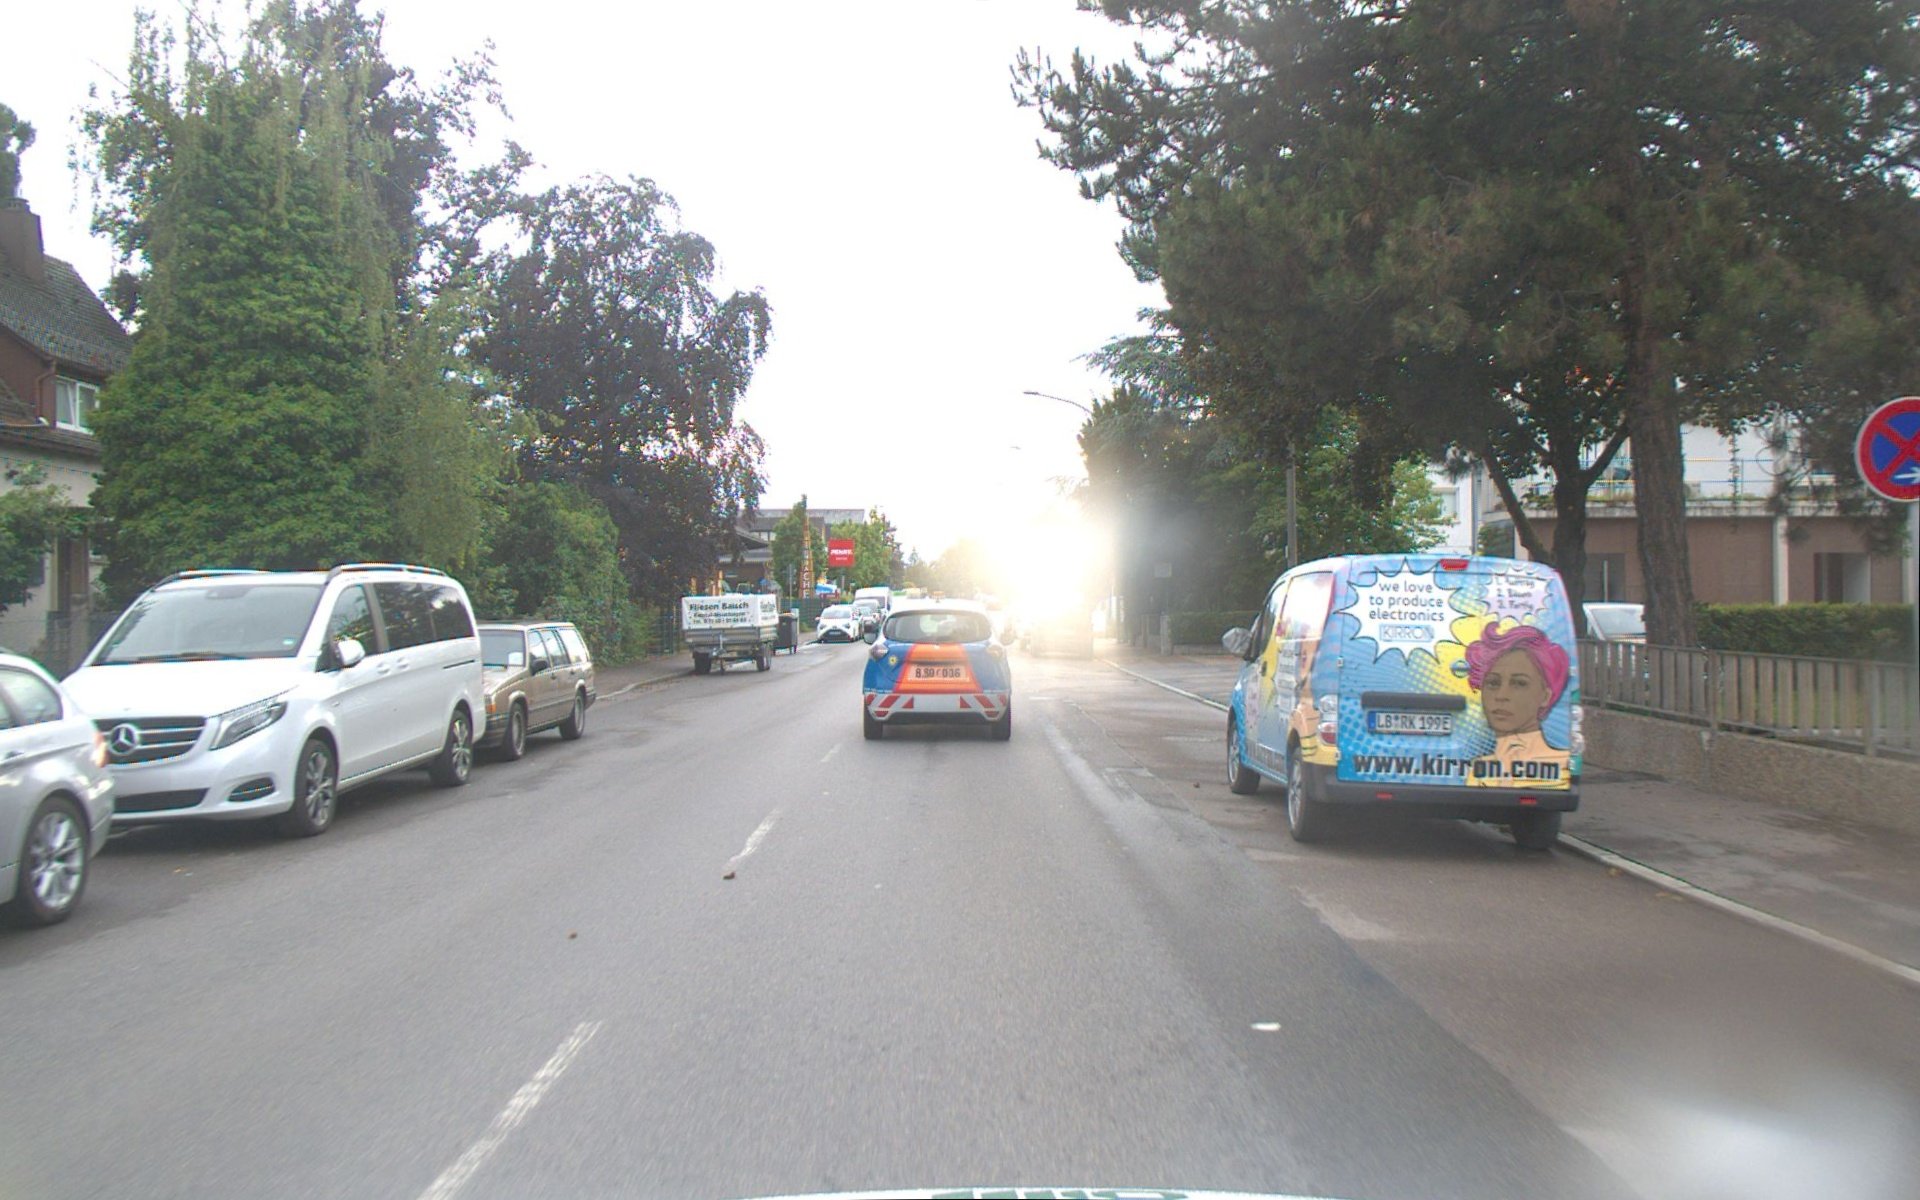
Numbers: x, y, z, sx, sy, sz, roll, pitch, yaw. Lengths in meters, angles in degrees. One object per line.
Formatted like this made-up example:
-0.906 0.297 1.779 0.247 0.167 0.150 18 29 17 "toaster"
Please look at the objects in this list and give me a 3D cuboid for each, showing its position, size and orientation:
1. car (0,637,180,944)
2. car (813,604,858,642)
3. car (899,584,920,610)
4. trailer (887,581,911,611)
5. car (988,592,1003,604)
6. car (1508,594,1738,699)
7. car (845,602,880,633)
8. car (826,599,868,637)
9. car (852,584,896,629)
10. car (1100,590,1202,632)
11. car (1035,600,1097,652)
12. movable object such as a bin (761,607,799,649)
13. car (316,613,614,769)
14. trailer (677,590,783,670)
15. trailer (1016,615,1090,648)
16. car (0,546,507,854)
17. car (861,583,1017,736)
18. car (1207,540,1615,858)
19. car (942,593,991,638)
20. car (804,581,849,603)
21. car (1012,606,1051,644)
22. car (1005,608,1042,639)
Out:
-5.267 0.919 7.059 1.604 1.389 4.707 -2 0 0 "car"
-5.313 0.973 71.141 1.583 1.535 3.660 -2 0 1 "car"
-5.035 -0.296 165.155 2.081 2.582 6.020 0 0 -1 "car"
-4.958 -0.345 135.094 1.776 2.354 4.730 -2 0 -1 "trailer"
4.021 -0.251 187.204 1.557 1.364 4.091 0 0 -2 "car"
10.324 0.681 26.091 1.710 1.514 4.114 0 0 -5 "car"
-5.030 0.891 85.372 1.628 1.474 4.316 -2 0 -2 "car"
-5.186 0.809 76.155 1.627 1.612 3.915 -2 0 -1 "car"
-5.046 0.350 97.607 2.114 2.469 6.459 -3 0 0 "car"
9.171 0.523 79.620 4.634 1.919 2.000 1 0 0 "car"
3.146 0.761 49.661 1.703 1.458 4.649 1 0 2 "car"
-5.926 0.912 54.660 1.078 1.333 1.425 1 0 0 "movable object such as a bin"
-5.353 0.908 18.635 1.779 1.452 4.981 -2 0 1 "car"
-5.483 0.678 39.970 1.890 1.796 4.548 0 0 1 "trailer"
3.063 1.022 55.995 2.129 0.913 6.636 1 0 0 "trailer"
-5.306 0.649 13.197 1.854 1.925 5.210 -2 0 1 "car"
-0.248 0.657 19.760 1.696 1.659 3.494 0 0 -1 "car"
3.134 0.603 12.746 1.696 1.860 5.554 2 0 1 "car"
0.190 0.557 59.524 1.616 1.548 3.999 1 0 -2 "car"
-13.392 -0.812 166.046 4.218 2.049 2.063 1 0 0 "car"
3.193 1.096 74.144 1.703 1.650 4.374 1 0 2 "car"
3.182 1.176 83.996 1.703 1.492 4.545 1 0 0 "car"
